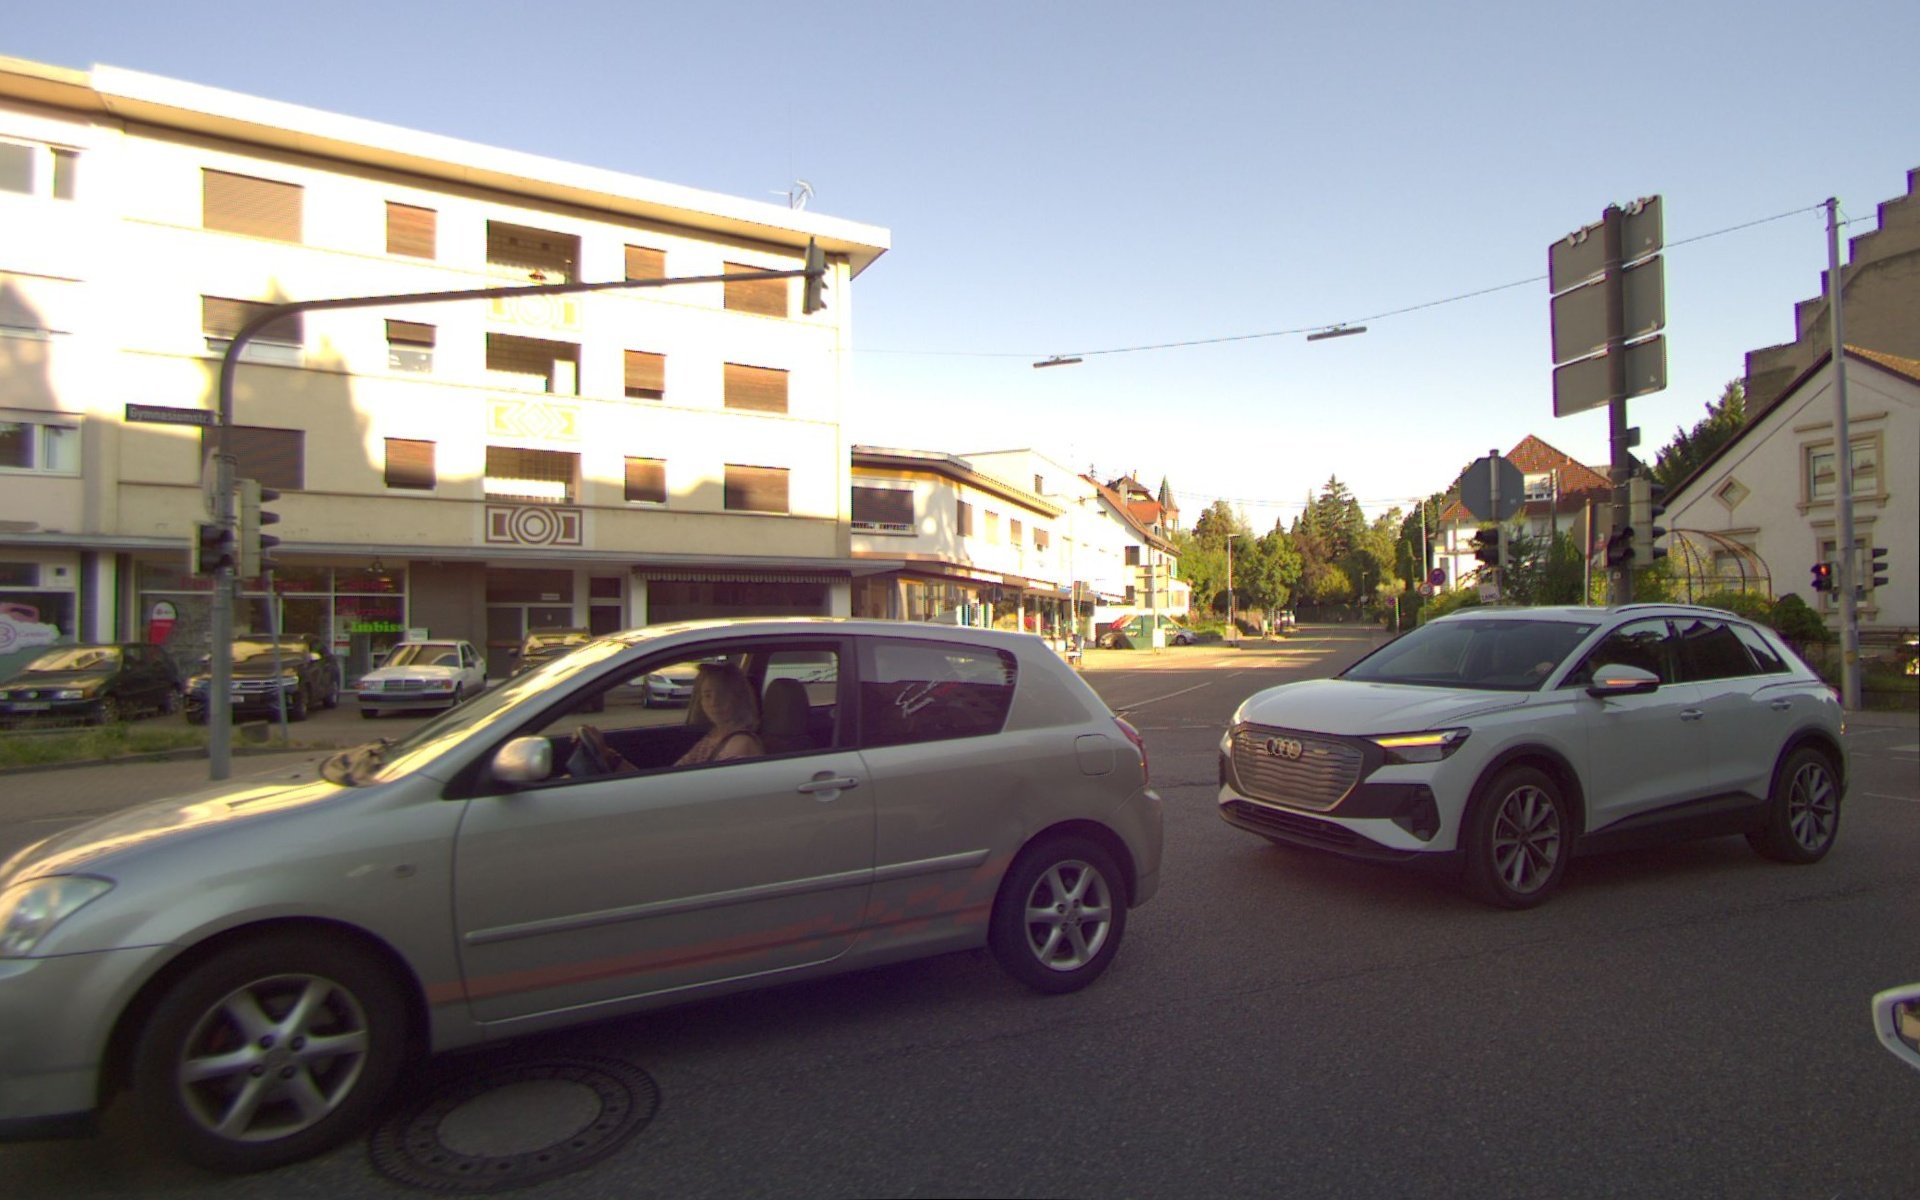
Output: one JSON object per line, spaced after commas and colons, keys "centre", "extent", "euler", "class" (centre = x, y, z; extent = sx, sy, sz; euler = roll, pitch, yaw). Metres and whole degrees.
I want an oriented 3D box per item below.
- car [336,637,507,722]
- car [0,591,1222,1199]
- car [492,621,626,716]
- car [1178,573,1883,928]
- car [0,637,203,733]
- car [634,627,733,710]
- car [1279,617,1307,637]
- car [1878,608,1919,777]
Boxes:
{"centre": [-10.671, 1.501, 20.272], "extent": [1.966, 1.417, 4.317], "euler": [0, -1, -13], "class": "car"}
{"centre": [-1.077, 0.745, 3.971], "extent": [4.048, 1.500, 1.767], "euler": [0, -1, -30], "class": "car"}
{"centre": [-8.308, 1.336, 21.191], "extent": [1.966, 1.737, 4.317], "euler": [0, -1, -13], "class": "car"}
{"centre": [3.760, 0.722, 6.514], "extent": [4.474, 1.670, 1.770], "euler": [0, -1, -26], "class": "car"}
{"centre": [-15.473, 1.429, 18.121], "extent": [1.972, 1.417, 4.302], "euler": [0, -1, -24], "class": "car"}
{"centre": [-6.197, 1.456, 22.914], "extent": [1.965, 1.632, 4.317], "euler": [0, -1, -13], "class": "car"}
{"centre": [34.178, 2.756, 103.121], "extent": [1.965, 2.040, 3.992], "euler": [-1, -1, 31], "class": "car"}
{"centre": [11.678, 0.906, 10.194], "extent": [4.222, 1.670, 1.949], "euler": [0, -1, -24], "class": "car"}
